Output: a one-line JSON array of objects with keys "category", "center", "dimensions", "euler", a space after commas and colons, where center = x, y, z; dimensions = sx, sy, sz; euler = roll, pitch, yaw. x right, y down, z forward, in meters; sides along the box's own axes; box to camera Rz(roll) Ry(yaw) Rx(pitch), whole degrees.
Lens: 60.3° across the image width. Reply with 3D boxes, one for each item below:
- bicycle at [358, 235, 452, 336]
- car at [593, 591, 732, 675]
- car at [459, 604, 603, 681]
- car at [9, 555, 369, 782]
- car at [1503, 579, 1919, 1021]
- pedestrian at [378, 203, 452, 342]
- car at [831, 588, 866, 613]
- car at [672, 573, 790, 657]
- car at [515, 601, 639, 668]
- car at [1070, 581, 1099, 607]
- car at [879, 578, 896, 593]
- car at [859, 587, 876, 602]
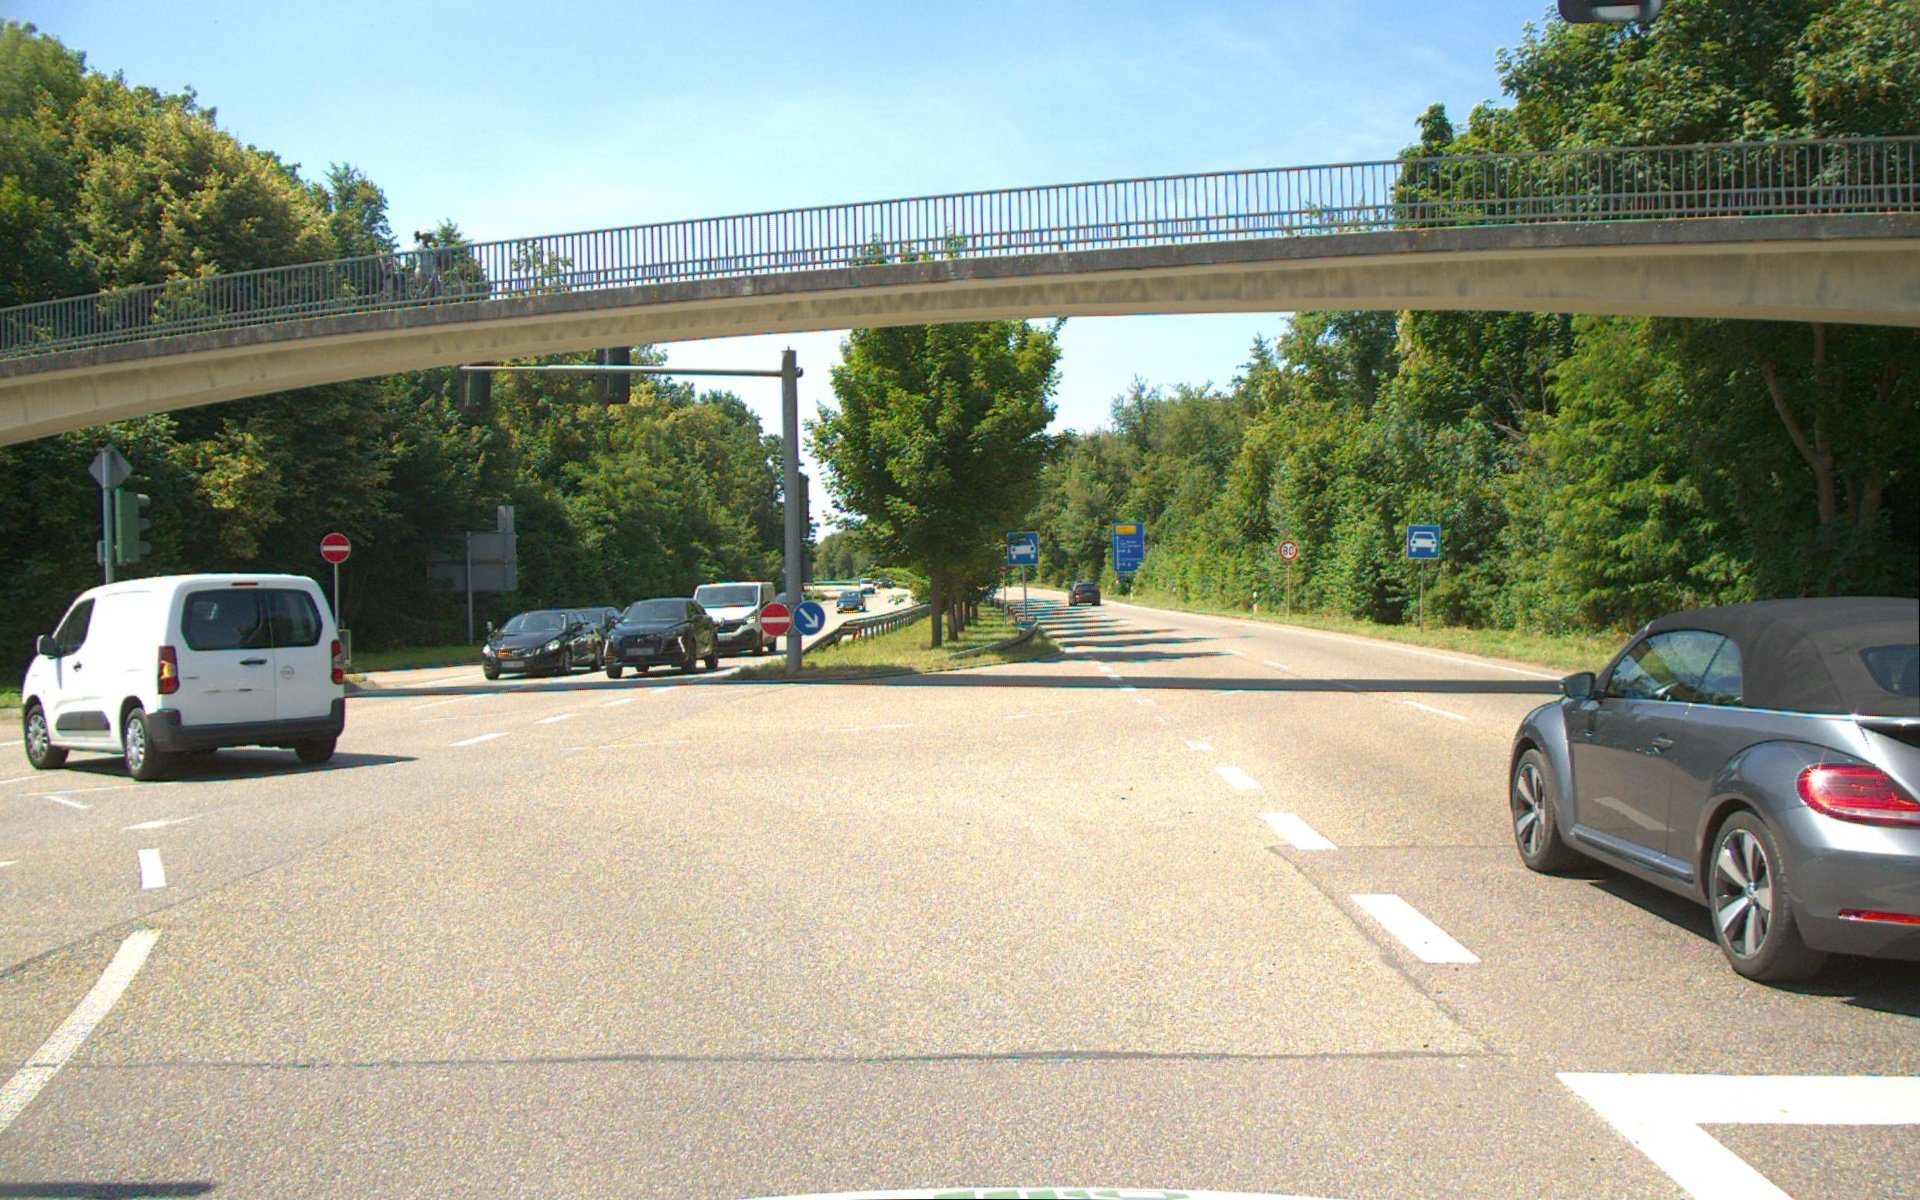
[{"category": "bicycle", "center": [-9.533, -5.385, 28.414], "dimensions": [1.494, 1.500, 0.470], "euler": [-3, -2, 18]}, {"category": "car", "center": [-6.067, 0.625, 34.171], "dimensions": [1.952, 1.550, 4.029], "euler": [-3, 0, 2]}, {"category": "car", "center": [-9.426, 0.896, 36.713], "dimensions": [1.966, 1.486, 4.056], "euler": [-3, 0, 2]}, {"category": "car", "center": [-7.596, 0.640, 16.135], "dimensions": [3.913, 1.857, 1.843], "euler": [-3, 1, 44]}, {"category": "car", "center": [4.016, 0.669, 7.589], "dimensions": [1.861, 1.503, 3.940], "euler": [0, 1, 2]}, {"category": "pedestrian", "center": [-9.481, -5.679, 28.808], "dimensions": [0.765, 2.177, 0.932], "euler": [-3, -2, 18]}, {"category": "car", "center": [-7.723, 0.046, 114.512], "dimensions": [1.966, 1.629, 4.056], "euler": [-3, -1, 2]}, {"category": "car", "center": [-6.061, 0.358, 44.519], "dimensions": [2.162, 2.028, 5.490], "euler": [-3, 0, 2]}, {"category": "car", "center": [-9.479, 0.819, 41.271], "dimensions": [1.966, 1.486, 4.056], "euler": [-3, 0, 2]}, {"category": "car", "center": [8.843, -0.426, 117.237], "dimensions": [1.999, 1.728, 5.089], "euler": [-1, 1, 4]}, {"category": "car", "center": [-9.977, -2.016, 227.520], "dimensions": [1.957, 2.049, 3.990], "euler": [0, 0, -10]}, {"category": "car", "center": [-11.257, -0.679, 200.383], "dimensions": [1.954, 1.780, 3.996], "euler": [0, 0, -4]}]
